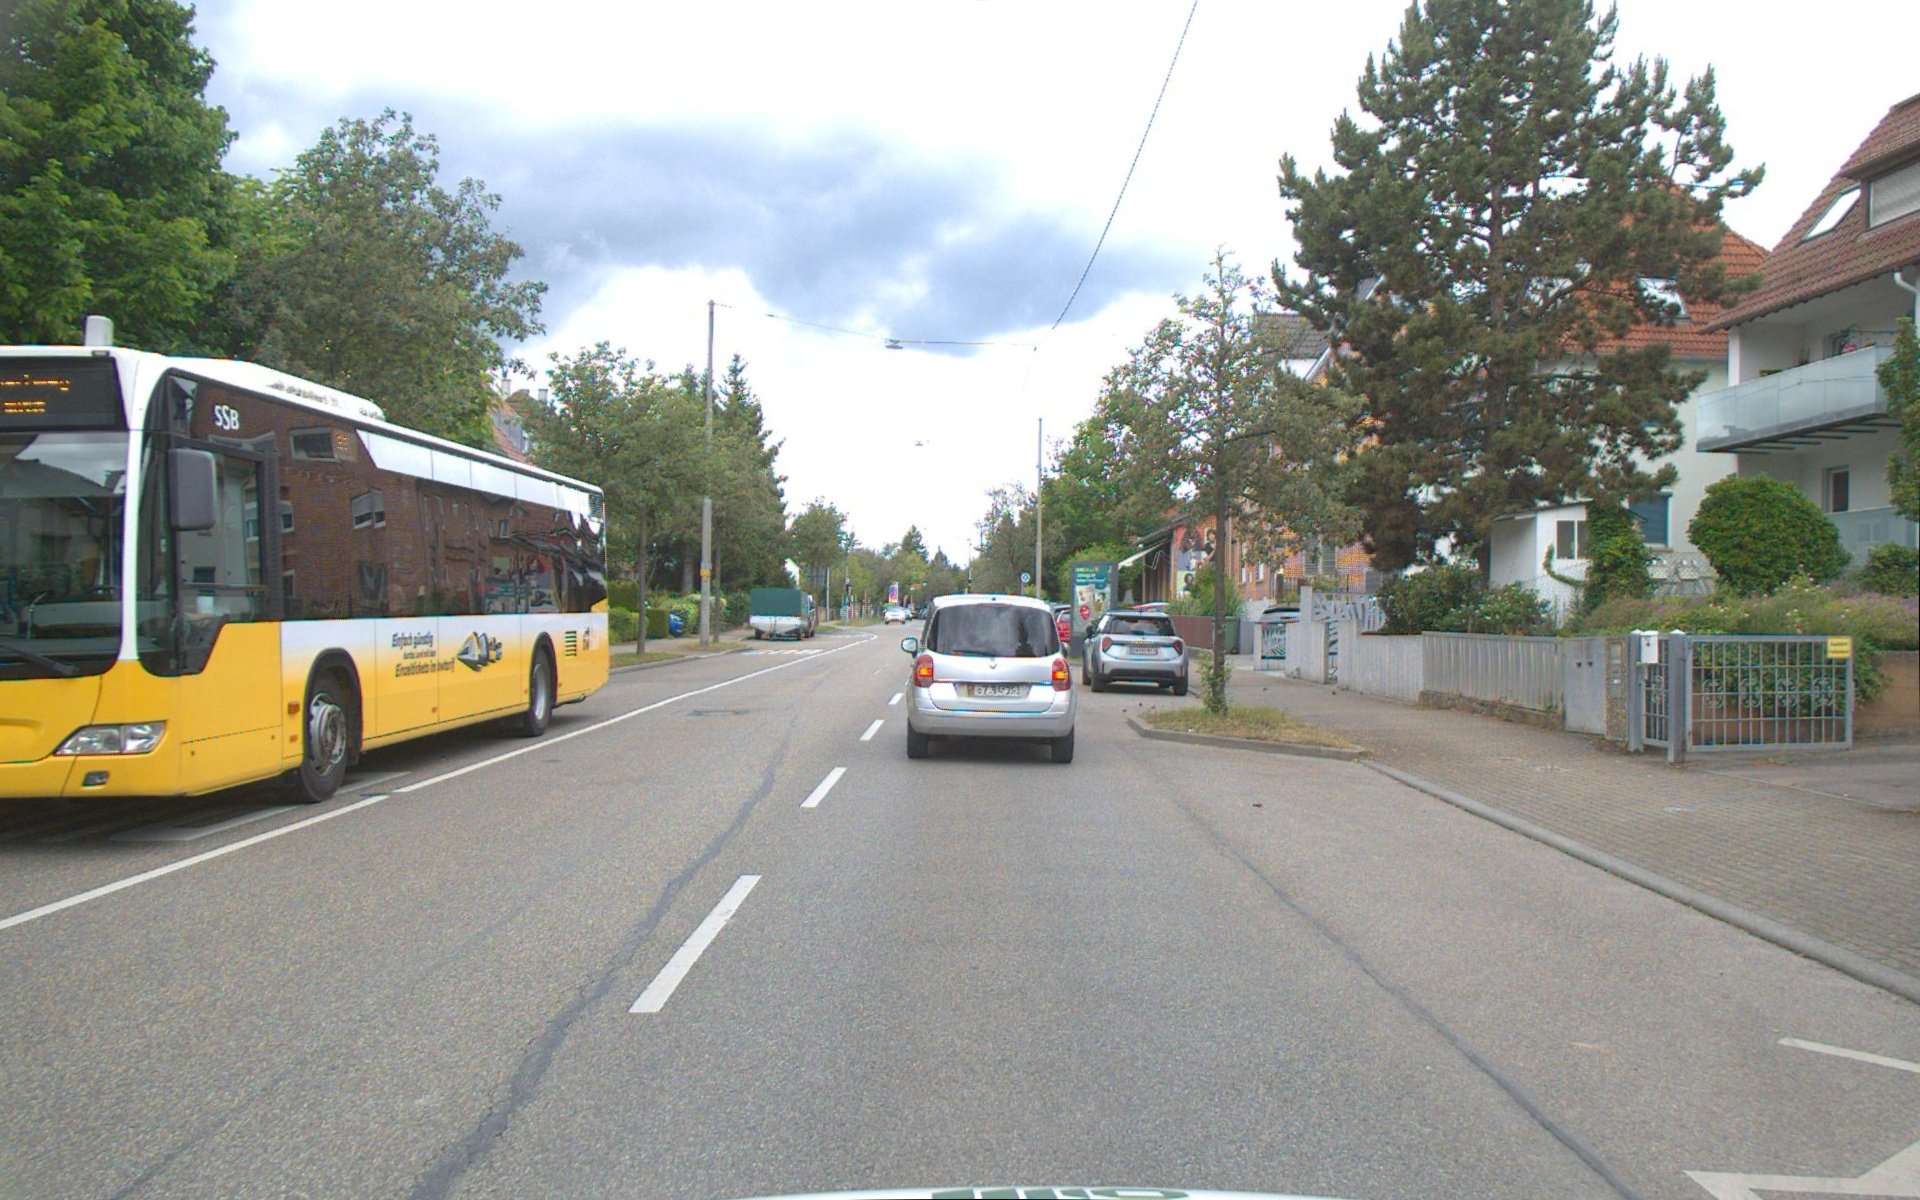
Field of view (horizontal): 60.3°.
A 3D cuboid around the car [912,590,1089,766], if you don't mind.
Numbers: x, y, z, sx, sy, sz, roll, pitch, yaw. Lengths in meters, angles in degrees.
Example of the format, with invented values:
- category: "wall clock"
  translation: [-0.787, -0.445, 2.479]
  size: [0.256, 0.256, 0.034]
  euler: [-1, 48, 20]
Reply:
- category: "car"
  translation: [0.423, 0.758, 17.294]
  size: [1.596, 1.584, 4.000]
  euler: [1, -1, 1]

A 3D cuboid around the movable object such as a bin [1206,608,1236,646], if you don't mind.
- category: "movable object such as a bin"
  translation: [7.741, 0.789, 49.088]
  size: [0.760, 1.123, 0.691]
  euler: [0, 0, -1]

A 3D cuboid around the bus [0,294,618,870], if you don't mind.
- category: "bus"
  translation: [-5.748, -0.078, 15.116]
  size: [2.578, 3.140, 12.070]
  euler: [-1, 0, 0]

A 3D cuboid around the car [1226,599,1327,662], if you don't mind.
- category: "car"
  translation: [8.684, 0.801, 45.110]
  size: [1.781, 1.404, 4.480]
  euler: [-5, 0, 22]

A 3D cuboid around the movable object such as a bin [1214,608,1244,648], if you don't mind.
- category: "movable object such as a bin"
  translation: [7.735, 0.799, 47.592]
  size: [0.760, 1.123, 0.691]
  euler: [0, 0, -1]

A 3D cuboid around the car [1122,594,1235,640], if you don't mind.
- category: "car"
  translation: [8.342, 0.654, 63.335]
  size: [3.913, 1.522, 1.806]
  euler: [-3, 0, -9]

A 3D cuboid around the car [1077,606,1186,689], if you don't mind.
- category: "car"
  translation: [3.111, 0.861, 30.611]
  size: [1.616, 1.407, 4.000]
  euler: [1, -1, 0]

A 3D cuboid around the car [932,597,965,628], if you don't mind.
- category: "car"
  translation: [-0.619, 0.697, 92.308]
  size: [1.792, 1.705, 3.574]
  euler: [0, 0, 0]

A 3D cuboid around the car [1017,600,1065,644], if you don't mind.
- category: "car"
  translation: [3.382, 0.925, 69.799]
  size: [1.775, 1.773, 3.999]
  euler: [-1, -1, -1]

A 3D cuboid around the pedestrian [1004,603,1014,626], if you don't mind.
- category: "pedestrian"
  translation: [3.530, 1.030, 118.478]
  size: [0.691, 1.675, 0.773]
  euler: [0, 0, -1]

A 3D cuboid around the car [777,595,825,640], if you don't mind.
- category: "car"
  translation: [-7.305, 0.842, 76.572]
  size: [1.849, 1.956, 4.560]
  euler: [1, -1, -2]

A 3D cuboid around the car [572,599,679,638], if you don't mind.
- category: "car"
  translation: [-12.664, 0.719, 62.800]
  size: [3.914, 1.362, 1.574]
  euler: [2, -2, -10]

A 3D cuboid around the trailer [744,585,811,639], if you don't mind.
- category: "trailer"
  translation: [-7.617, 0.544, 69.647]
  size: [2.265, 2.123, 5.870]
  euler: [1, -1, -2]

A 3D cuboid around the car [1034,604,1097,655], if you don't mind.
- category: "car"
  translation: [3.394, 0.931, 53.777]
  size: [1.629, 1.592, 4.096]
  euler: [0, 0, -2]

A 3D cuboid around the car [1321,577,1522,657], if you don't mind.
- category: "car"
  translation: [10.894, 0.412, 39.164]
  size: [4.181, 1.532, 1.692]
  euler: [-4, -2, -8]

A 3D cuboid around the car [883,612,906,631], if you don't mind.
- category: "car"
  translation: [-6.056, 2.008, 153.004]
  size: [1.868, 1.646, 3.995]
  euler: [1, -1, -5]

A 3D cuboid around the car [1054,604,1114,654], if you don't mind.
- category: "car"
  translation: [3.660, 0.846, 49.318]
  size: [1.628, 1.417, 3.668]
  euler: [-1, 0, 2]

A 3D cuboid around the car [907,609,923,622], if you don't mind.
- category: "car"
  translation: [-5.397, 1.883, 198.199]
  size: [1.688, 1.436, 3.997]
  euler: [1, -1, -3]
